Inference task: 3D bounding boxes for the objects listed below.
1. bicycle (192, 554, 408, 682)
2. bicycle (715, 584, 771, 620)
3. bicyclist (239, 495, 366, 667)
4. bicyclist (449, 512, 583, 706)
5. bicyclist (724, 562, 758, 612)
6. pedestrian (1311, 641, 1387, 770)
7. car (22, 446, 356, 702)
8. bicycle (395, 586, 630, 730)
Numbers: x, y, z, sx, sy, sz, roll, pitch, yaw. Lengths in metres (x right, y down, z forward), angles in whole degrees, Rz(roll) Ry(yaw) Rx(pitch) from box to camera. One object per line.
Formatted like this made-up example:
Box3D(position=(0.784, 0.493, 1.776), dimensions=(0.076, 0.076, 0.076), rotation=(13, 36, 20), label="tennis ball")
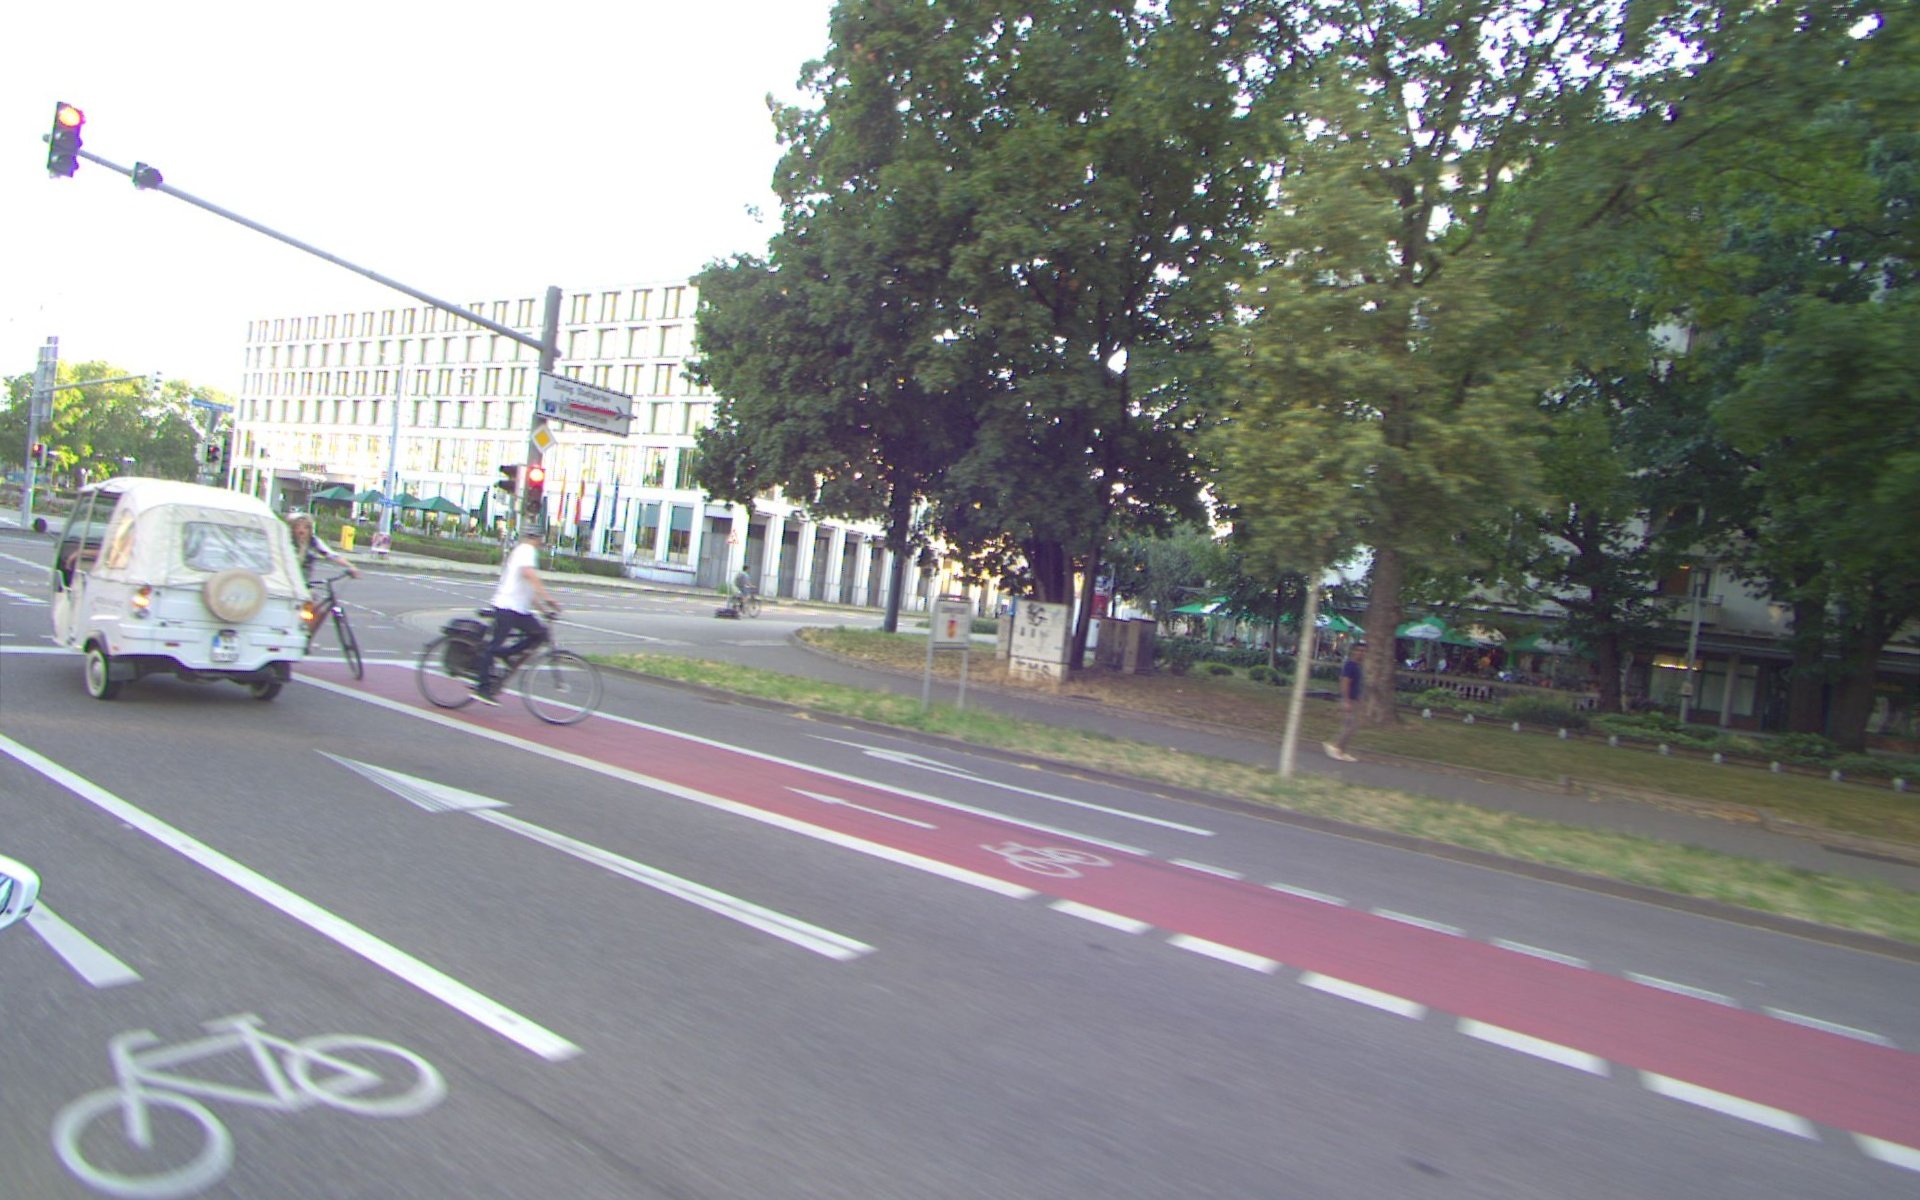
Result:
Box3D(position=(-7.125, 0.194, 10.867), dimensions=(1.983, 1.081, 0.731), rotation=(8, -1, 16), label="bicycle")
Box3D(position=(-7.912, 0.083, 36.717), dimensions=(0.719, 1.082, 1.898), rotation=(7, -1, 35), label="bicycle")
Box3D(position=(-7.052, -0.193, 10.811), dimensions=(0.734, 1.714, 0.715), rotation=(7, 1, 17), label="bicyclist")
Box3D(position=(-4.258, 0.086, 9.697), dimensions=(0.734, 1.714, 0.765), rotation=(7, 1, 7), label="bicyclist")
Box3D(position=(-7.955, -0.481, 36.556), dimensions=(0.704, 1.714, 0.746), rotation=(7, 1, 35), label="bicyclist")
Box3D(position=(5.579, 1.489, 14.420), dimensions=(0.736, 1.714, 0.695), rotation=(7, 1, 31), label="pedestrian")
Box3D(position=(-6.692, -0.238, 8.700), dimensions=(2.523, 1.803, 1.460), rotation=(9, 1, 35), label="car")
Box3D(position=(-4.298, 0.546, 9.726), dimensions=(1.866, 1.081, 0.731), rotation=(8, -1, 9), label="bicycle")
